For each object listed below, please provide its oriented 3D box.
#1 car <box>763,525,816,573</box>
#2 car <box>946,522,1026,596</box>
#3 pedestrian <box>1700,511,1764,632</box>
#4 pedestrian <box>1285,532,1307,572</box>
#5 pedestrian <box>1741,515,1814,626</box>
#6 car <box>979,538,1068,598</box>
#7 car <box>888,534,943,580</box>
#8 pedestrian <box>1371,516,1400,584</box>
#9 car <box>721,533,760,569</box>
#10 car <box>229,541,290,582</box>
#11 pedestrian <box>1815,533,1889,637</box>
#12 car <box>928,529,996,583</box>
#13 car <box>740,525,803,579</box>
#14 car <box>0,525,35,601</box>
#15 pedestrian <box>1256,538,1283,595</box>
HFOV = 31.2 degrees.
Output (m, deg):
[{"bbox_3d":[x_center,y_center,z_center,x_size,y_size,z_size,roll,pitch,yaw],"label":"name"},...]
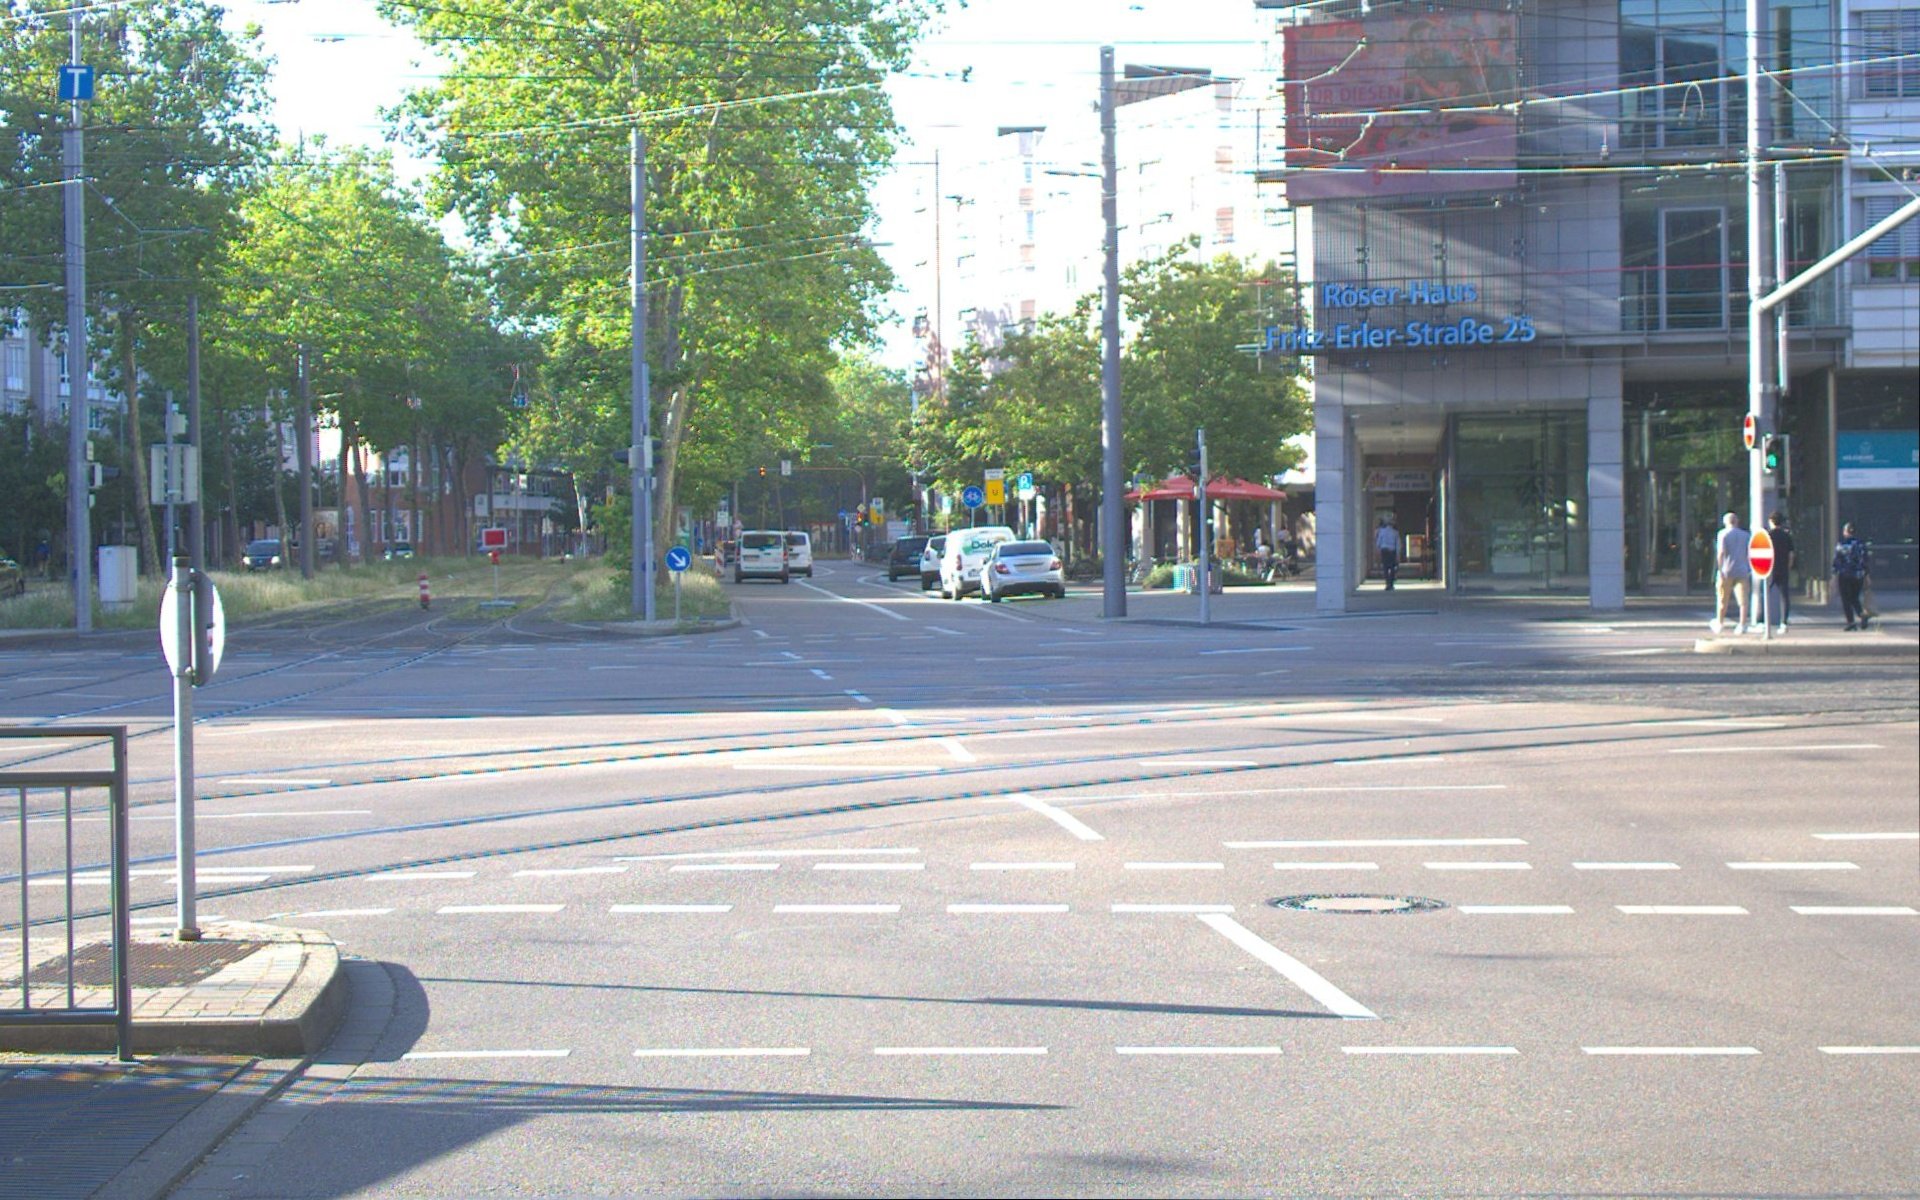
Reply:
[{"bbox_3d":[-6.911,-2.070,139.722,1.993,1.905,4.000,-1,1,-1],"label":"car"},{"bbox_3d":[0.657,-1.094,89.567,1.993,1.853,4.000,-1,1,-1],"label":"car"},{"bbox_3d":[11.569,-0.432,51.533,0.864,1.782,0.871,-1,1,9],"label":"pedestrian"},{"bbox_3d":[10.754,-1.536,110.019,0.577,1.284,0.910,-1,1,-1],"label":"pedestrian"},{"bbox_3d":[12.511,-0.458,52.642,0.912,1.679,1.035,-1,1,4],"label":"pedestrian"},{"bbox_3d":[1.500,-0.785,82.771,1.993,1.371,4.000,-1,1,-1],"label":"car"},{"bbox_3d":[-1.631,-1.595,126.663,1.993,1.612,4.000,-1,1,0],"label":"car"},{"bbox_3d":[9.489,-1.123,76.704,0.612,1.502,0.579,-1,1,8],"label":"pedestrian"},{"bbox_3d":[-12.549,-2.806,196.326,1.993,2.007,4.000,-1,1,-1],"label":"car"},{"bbox_3d":[-32.087,-1.776,157.618,1.993,1.809,4.000,-1,1,-1],"label":"car"},{"bbox_3d":[13.553,-0.233,52.258,0.948,1.558,0.897,-1,1,6],"label":"pedestrian"},{"bbox_3d":[0.046,-1.357,105.212,1.993,1.612,4.000,-1,1,0],"label":"car"},{"bbox_3d":[-6.634,-1.721,121.576,1.961,1.842,5.330,-1,1,0],"label":"car"},{"bbox_3d":[-21.658,-0.798,74.922,1.993,1.634,4.000,-1,1,-1],"label":"car"},{"bbox_3d":[9.458,-1.020,104.977,0.744,1.708,0.612,-1,1,-1],"label":"pedestrian"}]
